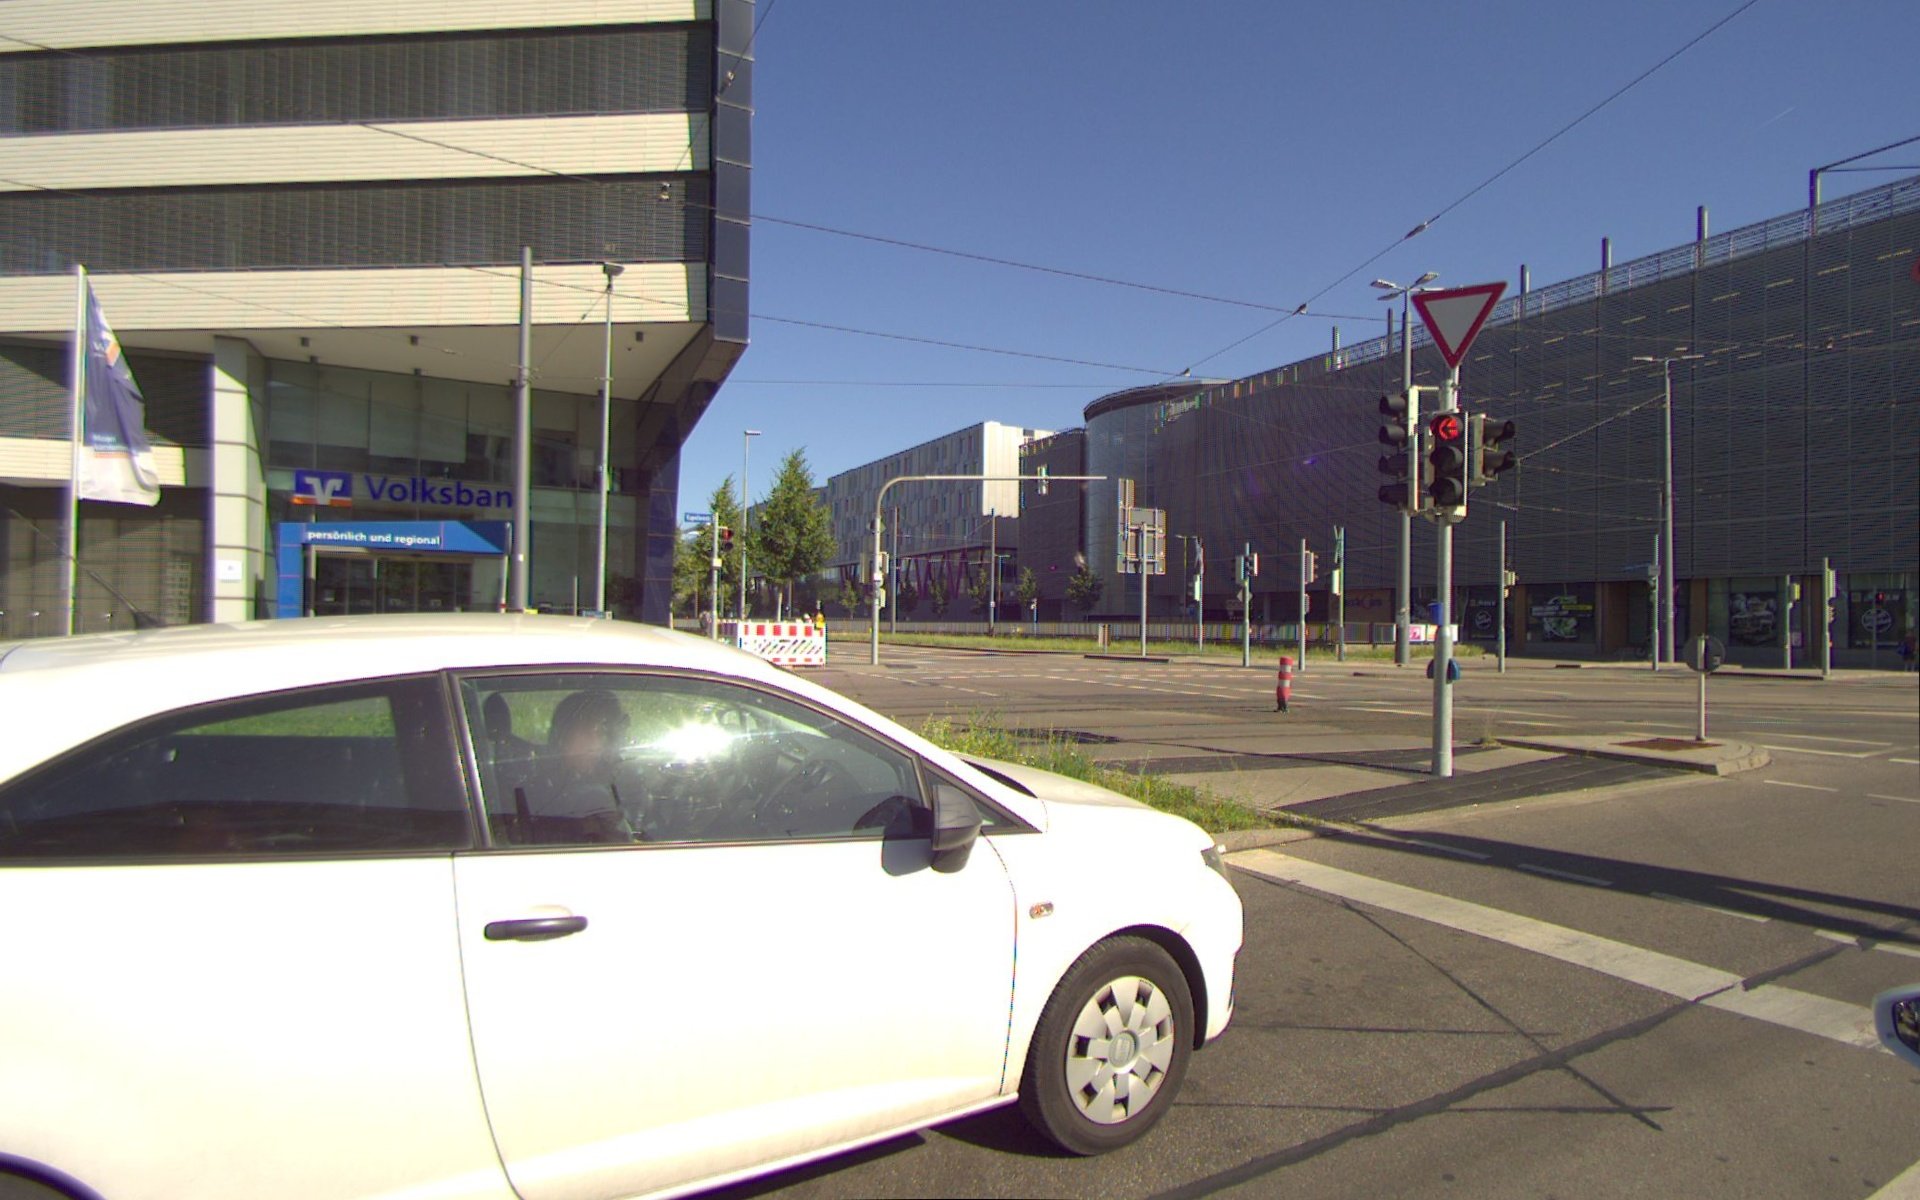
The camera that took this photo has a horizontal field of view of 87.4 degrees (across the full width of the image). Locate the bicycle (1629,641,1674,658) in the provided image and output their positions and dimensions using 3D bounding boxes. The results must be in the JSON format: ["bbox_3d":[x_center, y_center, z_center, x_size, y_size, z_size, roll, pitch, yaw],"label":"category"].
[{"bbox_3d":[37.763,2.700,54.859,0.553,0.822,2.005,2,-1,-30],"label":"bicycle"}]

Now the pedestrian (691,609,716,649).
[{"bbox_3d":[-10.135,1.138,39.644,0.845,1.576,0.610,1,-1,-24],"label":"pedestrian"}]

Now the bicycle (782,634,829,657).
[{"bbox_3d":[-6.258,1.824,40.534,0.763,0.851,2.540,2,-1,-38],"label":"bicycle"}]

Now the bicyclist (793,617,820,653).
[{"bbox_3d":[-6.186,1.420,40.464,0.755,1.428,0.763,2,-1,-38],"label":"bicyclist"}]

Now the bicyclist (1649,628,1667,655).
[{"bbox_3d":[37.939,2.237,54.595,0.553,1.429,0.651,1,-1,-31],"label":"bicyclist"}]

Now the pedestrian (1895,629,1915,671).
[{"bbox_3d":[40.137,2.121,42.666,0.616,1.774,0.586,0,-1,42],"label":"pedestrian"}]

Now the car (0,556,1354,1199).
[{"bbox_3d":[-0.881,0.680,2.794,3.791,1.450,1.656,2,2,-30],"label":"car"}]
